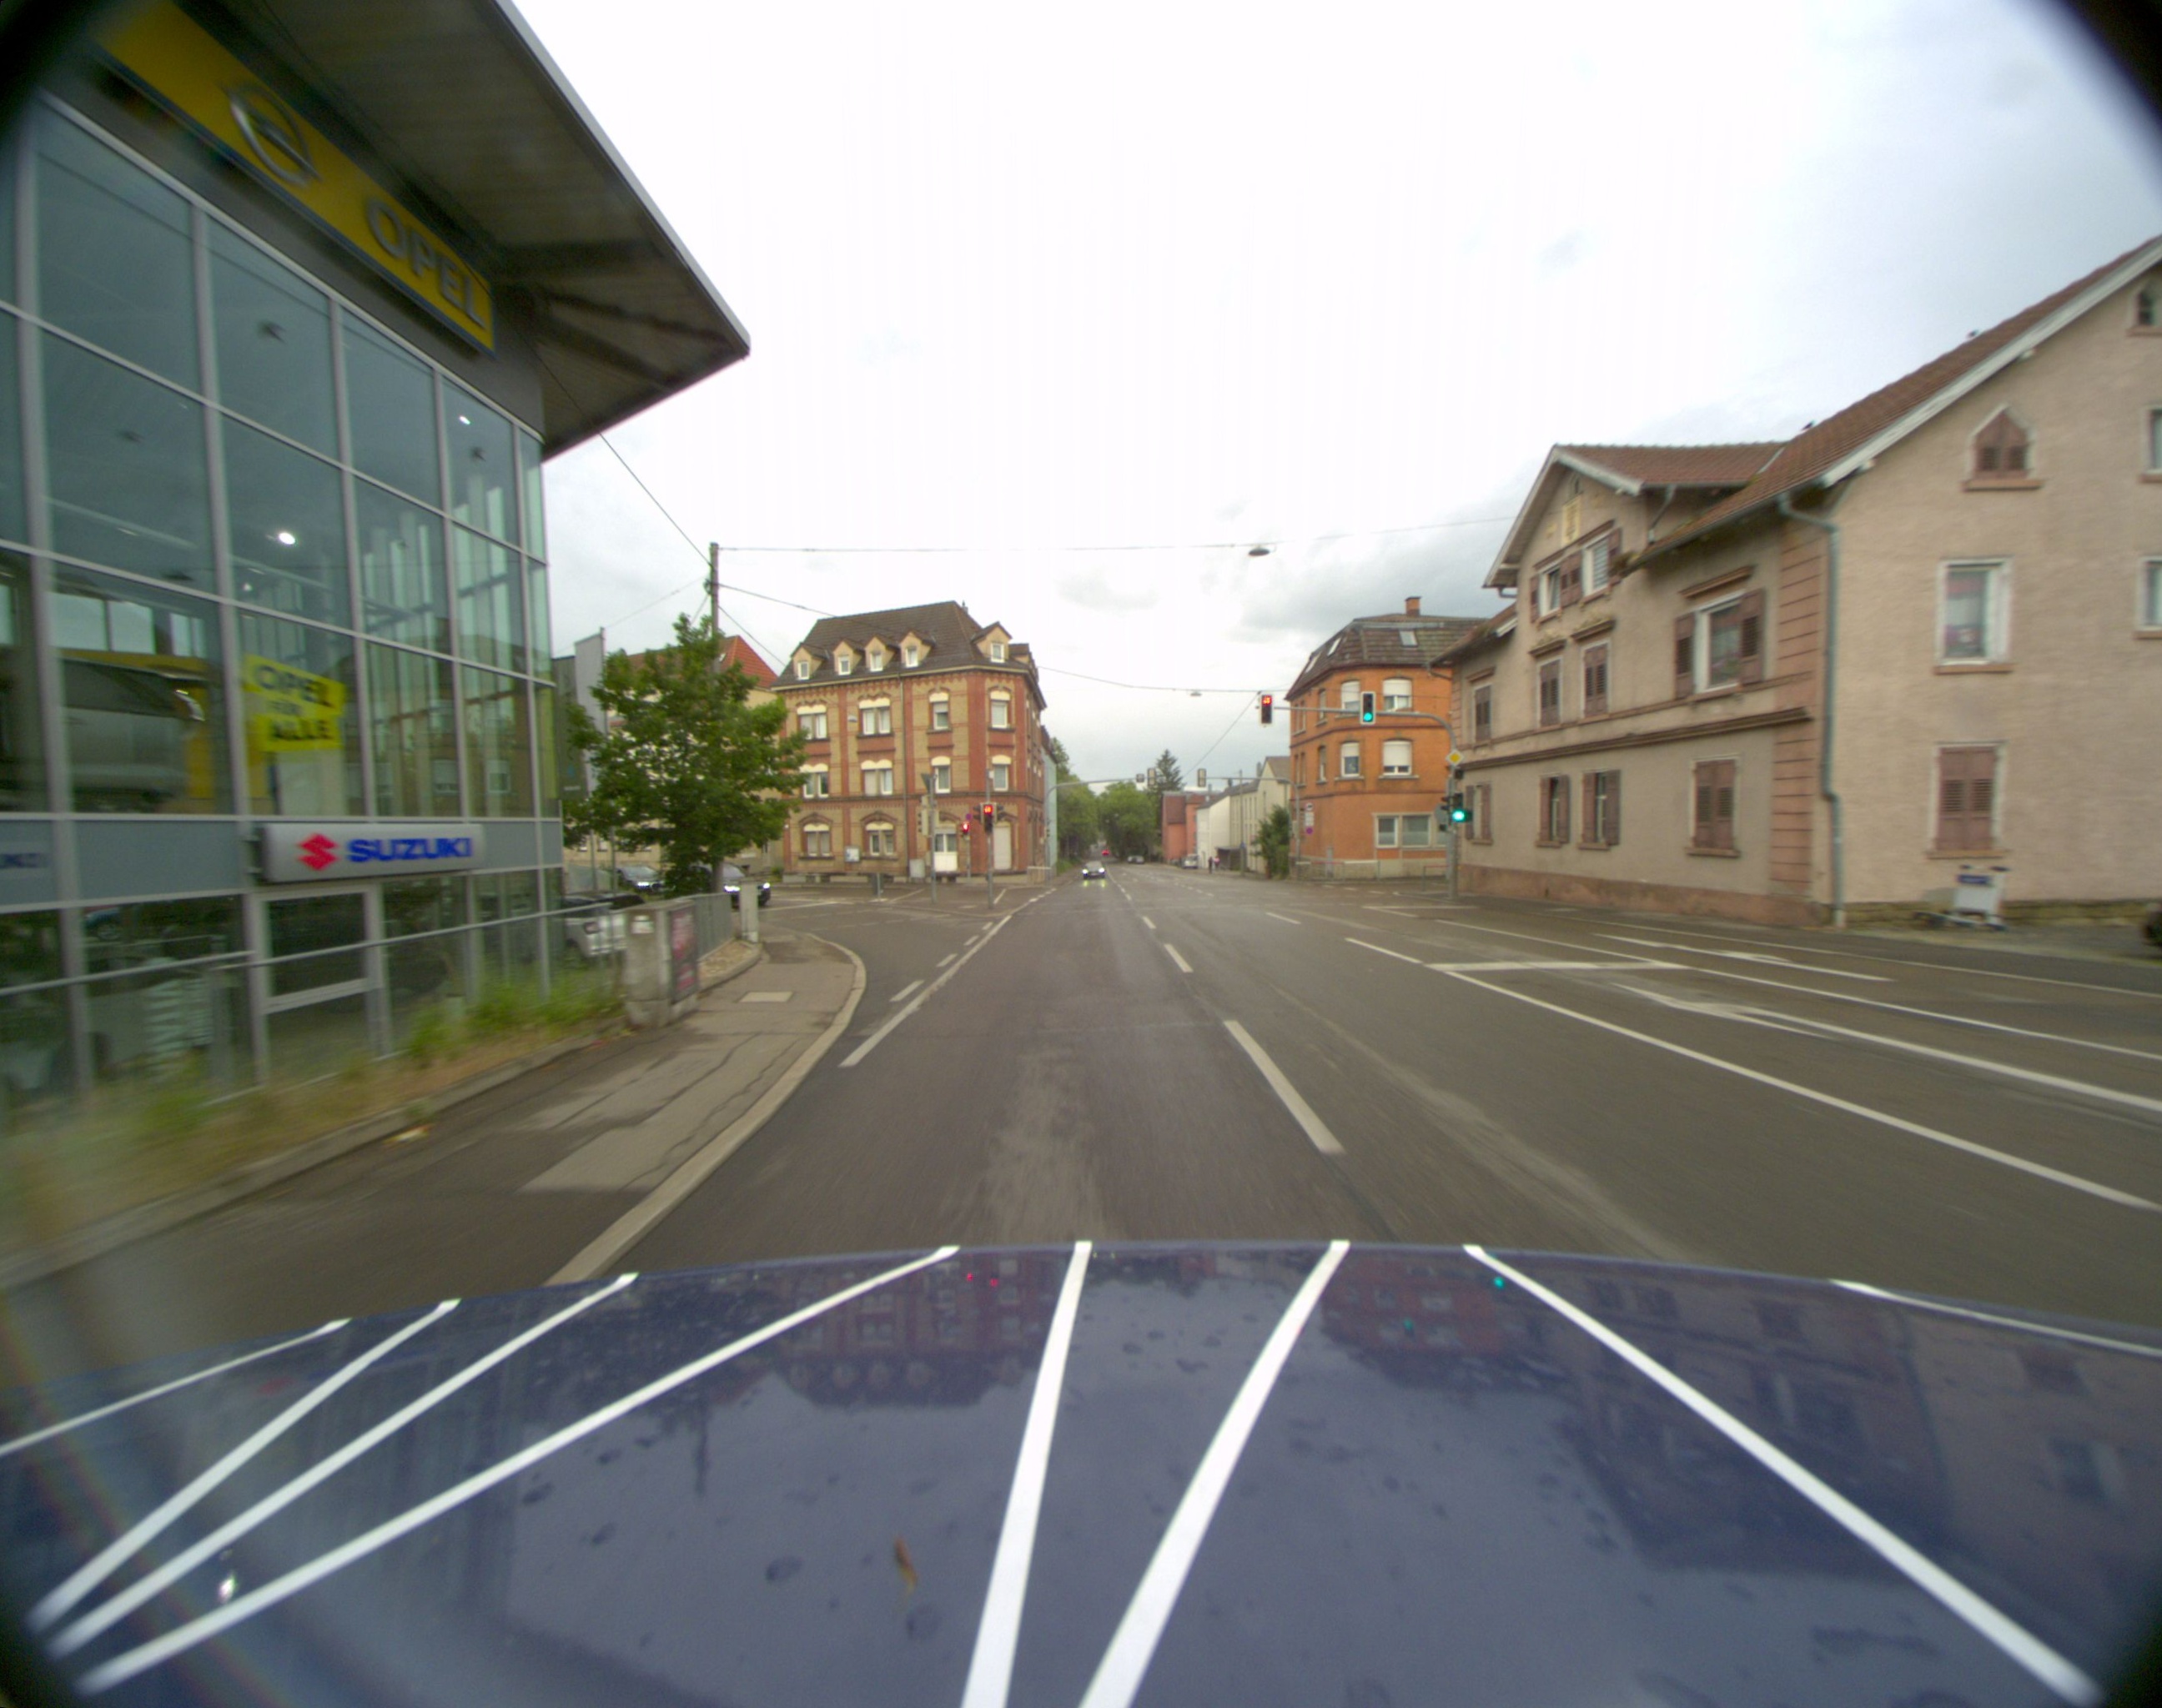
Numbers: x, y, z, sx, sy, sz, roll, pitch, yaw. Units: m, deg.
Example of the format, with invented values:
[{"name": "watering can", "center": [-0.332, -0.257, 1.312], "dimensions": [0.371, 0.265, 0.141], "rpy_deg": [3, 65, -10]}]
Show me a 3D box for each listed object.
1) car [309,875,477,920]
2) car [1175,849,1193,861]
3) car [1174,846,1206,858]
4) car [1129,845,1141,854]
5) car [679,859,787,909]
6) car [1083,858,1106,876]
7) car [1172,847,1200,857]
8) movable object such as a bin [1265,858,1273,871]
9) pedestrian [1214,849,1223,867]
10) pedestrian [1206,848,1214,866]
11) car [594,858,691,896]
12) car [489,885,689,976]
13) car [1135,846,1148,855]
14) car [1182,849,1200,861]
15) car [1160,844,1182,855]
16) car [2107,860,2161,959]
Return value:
[{"name": "car", "center": [-24.113, 1.471, 26.789], "dimensions": [1.719, 1.265, 4.007], "rpy_deg": [0, 1, 30]}, {"name": "car", "center": [14.210, 0.089, 104.925], "dimensions": [1.750, 1.543, 4.082], "rpy_deg": [-3, 1, -3]}, {"name": "car", "center": [16.831, -0.375, 117.507], "dimensions": [4.542, 1.599, 2.153], "rpy_deg": [-3, 1, 3]}, {"name": "car", "center": [9.984, -0.860, 140.900], "dimensions": [1.816, 1.537, 4.198], "rpy_deg": [2, 1, 1]}, {"name": "car", "center": [-13.233, 1.082, 28.821], "dimensions": [4.242, 1.653, 1.808], "rpy_deg": [0, 2, 36]}, {"name": "car", "center": [1.116, 1.057, 63.400], "dimensions": [1.842, 1.403, 3.999], "rpy_deg": [-1, 1, 1]}, {"name": "car", "center": [16.513, -0.307, 120.019], "dimensions": [4.171, 1.425, 2.000], "rpy_deg": [-3, 1, 3]}, {"name": "movable object such as a bin", "center": [13.828, 0.747, 55.936], "dimensions": [0.410, 0.919, 0.525], "rpy_deg": [-2, 2, -5]}, {"name": "pedestrian", "center": [13.293, 0.415, 73.596], "dimensions": [0.641, 1.696, 0.911], "rpy_deg": [-2, 1, 2]}, {"name": "pedestrian", "center": [12.528, 0.313, 73.627], "dimensions": [0.641, 1.696, 0.911], "rpy_deg": [-2, 1, 2]}, {"name": "car", "center": [-19.153, 0.960, 33.133], "dimensions": [4.243, 1.496, 1.808], "rpy_deg": [0, 2, 32]}, {"name": "car", "center": [-10.819, 1.581, 16.680], "dimensions": [3.989, 1.500, 1.900], "rpy_deg": [0, 5, 29]}, {"name": "car", "center": [10.333, -0.630, 129.665], "dimensions": [1.789, 1.402, 4.197], "rpy_deg": [1, 1, -2]}, {"name": "car", "center": [14.081, 0.086, 97.650], "dimensions": [1.749, 1.499, 4.177], "rpy_deg": [-1, 1, 1]}, {"name": "car", "center": [17.426, -0.894, 146.853], "dimensions": [3.994, 2.002, 2.001], "rpy_deg": [-2, 2, 9]}, {"name": "car", "center": [15.030, 0.615, 8.921], "dimensions": [3.998, 1.156, 1.606], "rpy_deg": [-2, 1, -3]}]
